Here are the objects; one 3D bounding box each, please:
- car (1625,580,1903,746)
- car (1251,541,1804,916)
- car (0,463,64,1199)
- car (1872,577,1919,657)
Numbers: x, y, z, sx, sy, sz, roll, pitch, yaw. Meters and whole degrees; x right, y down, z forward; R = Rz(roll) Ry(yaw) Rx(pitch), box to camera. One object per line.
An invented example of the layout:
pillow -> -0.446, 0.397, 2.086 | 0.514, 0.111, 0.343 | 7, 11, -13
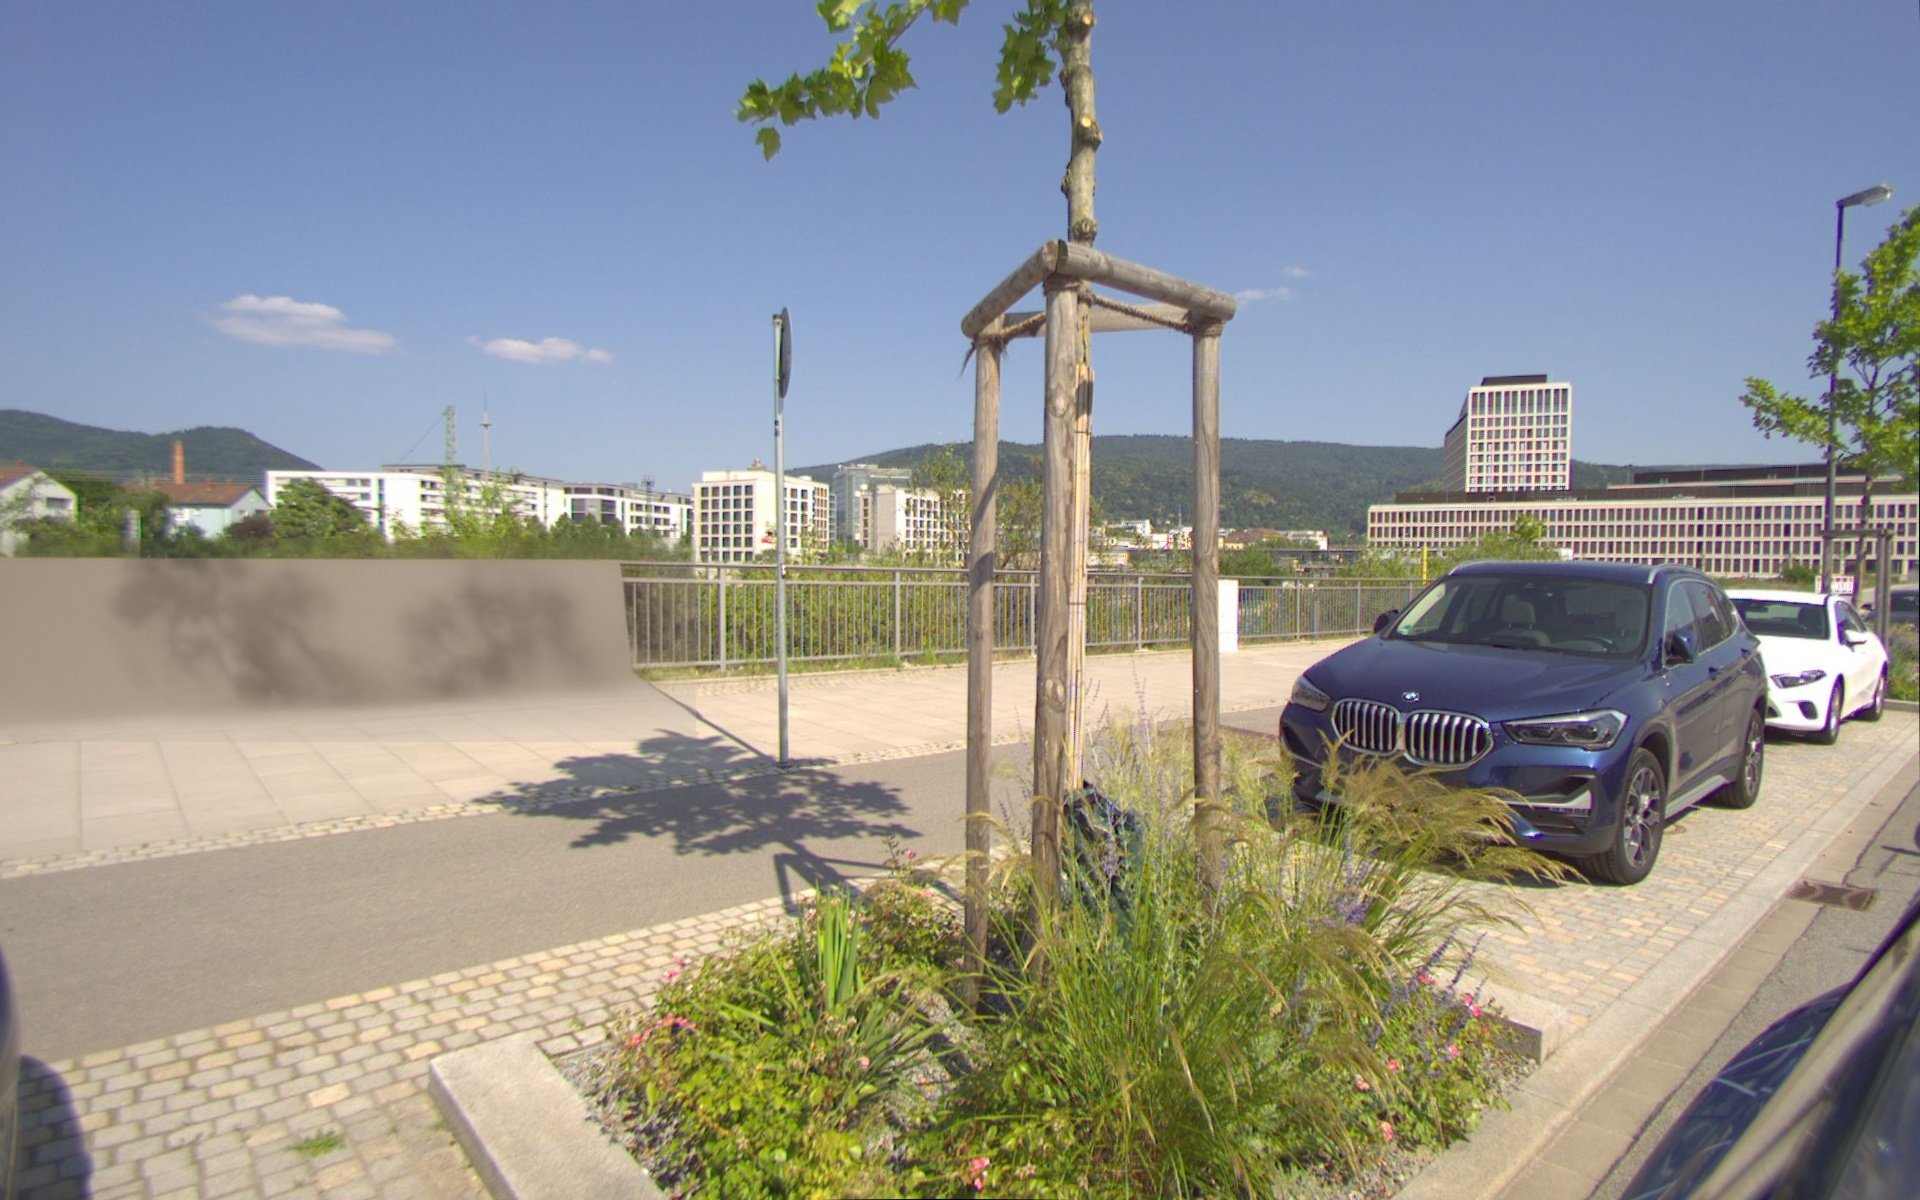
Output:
car -> 8.765, 0.535, 10.921 | 3.930, 1.473, 1.663 | -1, 0, -41
car -> 3.797, 0.533, 6.431 | 4.164, 1.627, 1.768 | -1, 0, -41
car -> -2.995, 0.569, 0.384 | 3.930, 1.444, 1.664 | -1, 3, -41
car -> 20.447, 0.314, 21.088 | 3.930, 1.558, 1.663 | -1, 0, -41
